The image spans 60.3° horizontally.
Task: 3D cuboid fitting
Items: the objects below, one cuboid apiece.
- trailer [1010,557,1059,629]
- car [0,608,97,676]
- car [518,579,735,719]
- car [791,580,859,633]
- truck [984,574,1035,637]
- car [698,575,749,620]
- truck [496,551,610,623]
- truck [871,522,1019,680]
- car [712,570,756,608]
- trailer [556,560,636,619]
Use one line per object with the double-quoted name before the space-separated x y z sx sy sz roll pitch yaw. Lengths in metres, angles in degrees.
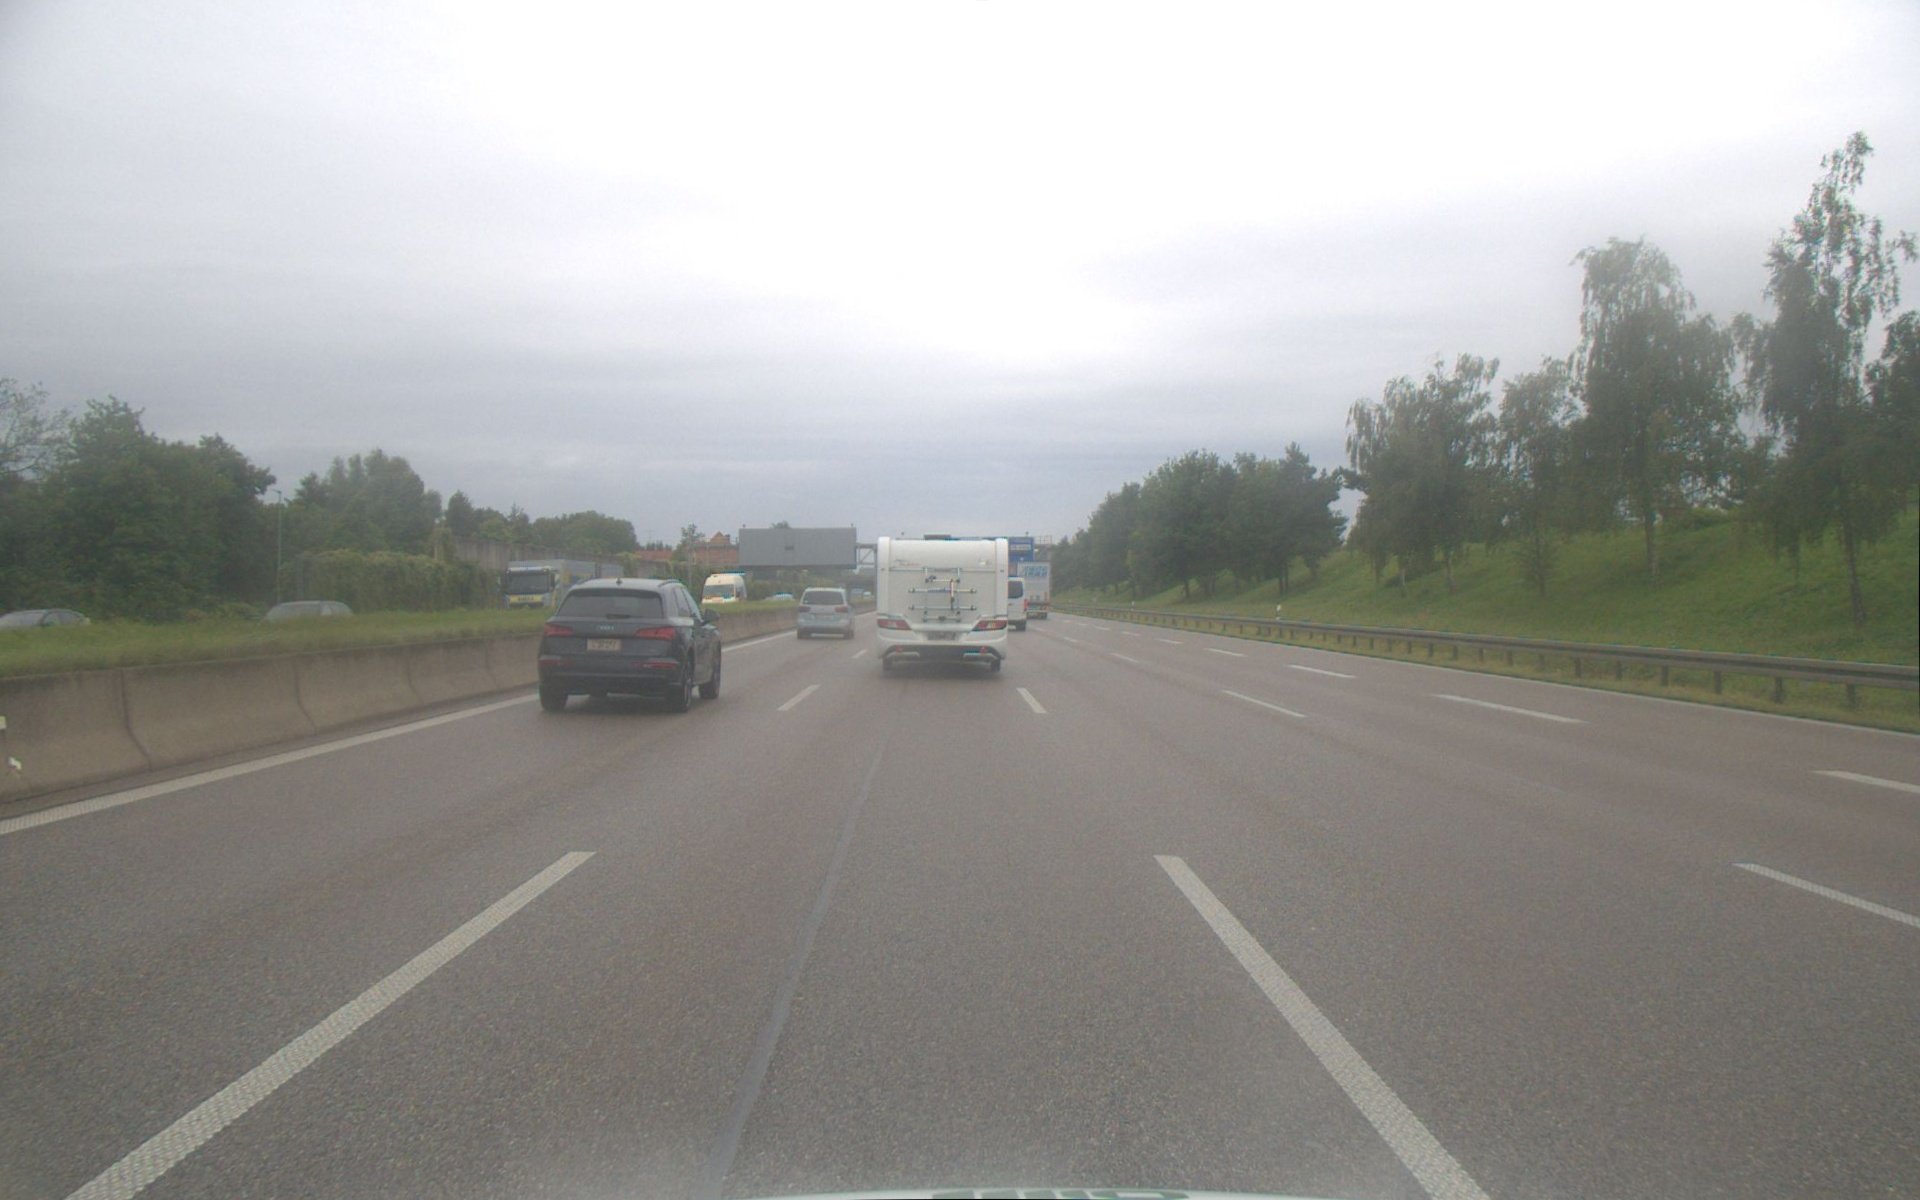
"trailer" 5.424 -0.470 123.067 3.036 5.008 11.789 1 0 0
"car" -26.640 1.166 47.217 1.953 1.825 3.998 1 0 -2
"car" -4.315 0.587 22.239 1.953 1.628 5.122 1 0 -1
"car" -4.606 0.215 56.872 2.085 1.736 4.112 1 0 -2
"truck" 2.264 0.256 77.175 2.012 2.818 5.547 1 0 -1
"car" -13.533 -0.133 95.049 2.017 2.427 7.321 1 0 -1
"truck" -20.218 -0.584 82.977 2.825 3.277 11.357 1 0 0
"truck" -0.331 0.035 32.271 2.607 2.790 5.076 1 0 -1
"car" -17.117 -0.781 125.600 2.274 2.782 7.315 1 0 0
"trailer" -20.303 -0.556 92.622 2.720 3.131 7.872 1 0 0
